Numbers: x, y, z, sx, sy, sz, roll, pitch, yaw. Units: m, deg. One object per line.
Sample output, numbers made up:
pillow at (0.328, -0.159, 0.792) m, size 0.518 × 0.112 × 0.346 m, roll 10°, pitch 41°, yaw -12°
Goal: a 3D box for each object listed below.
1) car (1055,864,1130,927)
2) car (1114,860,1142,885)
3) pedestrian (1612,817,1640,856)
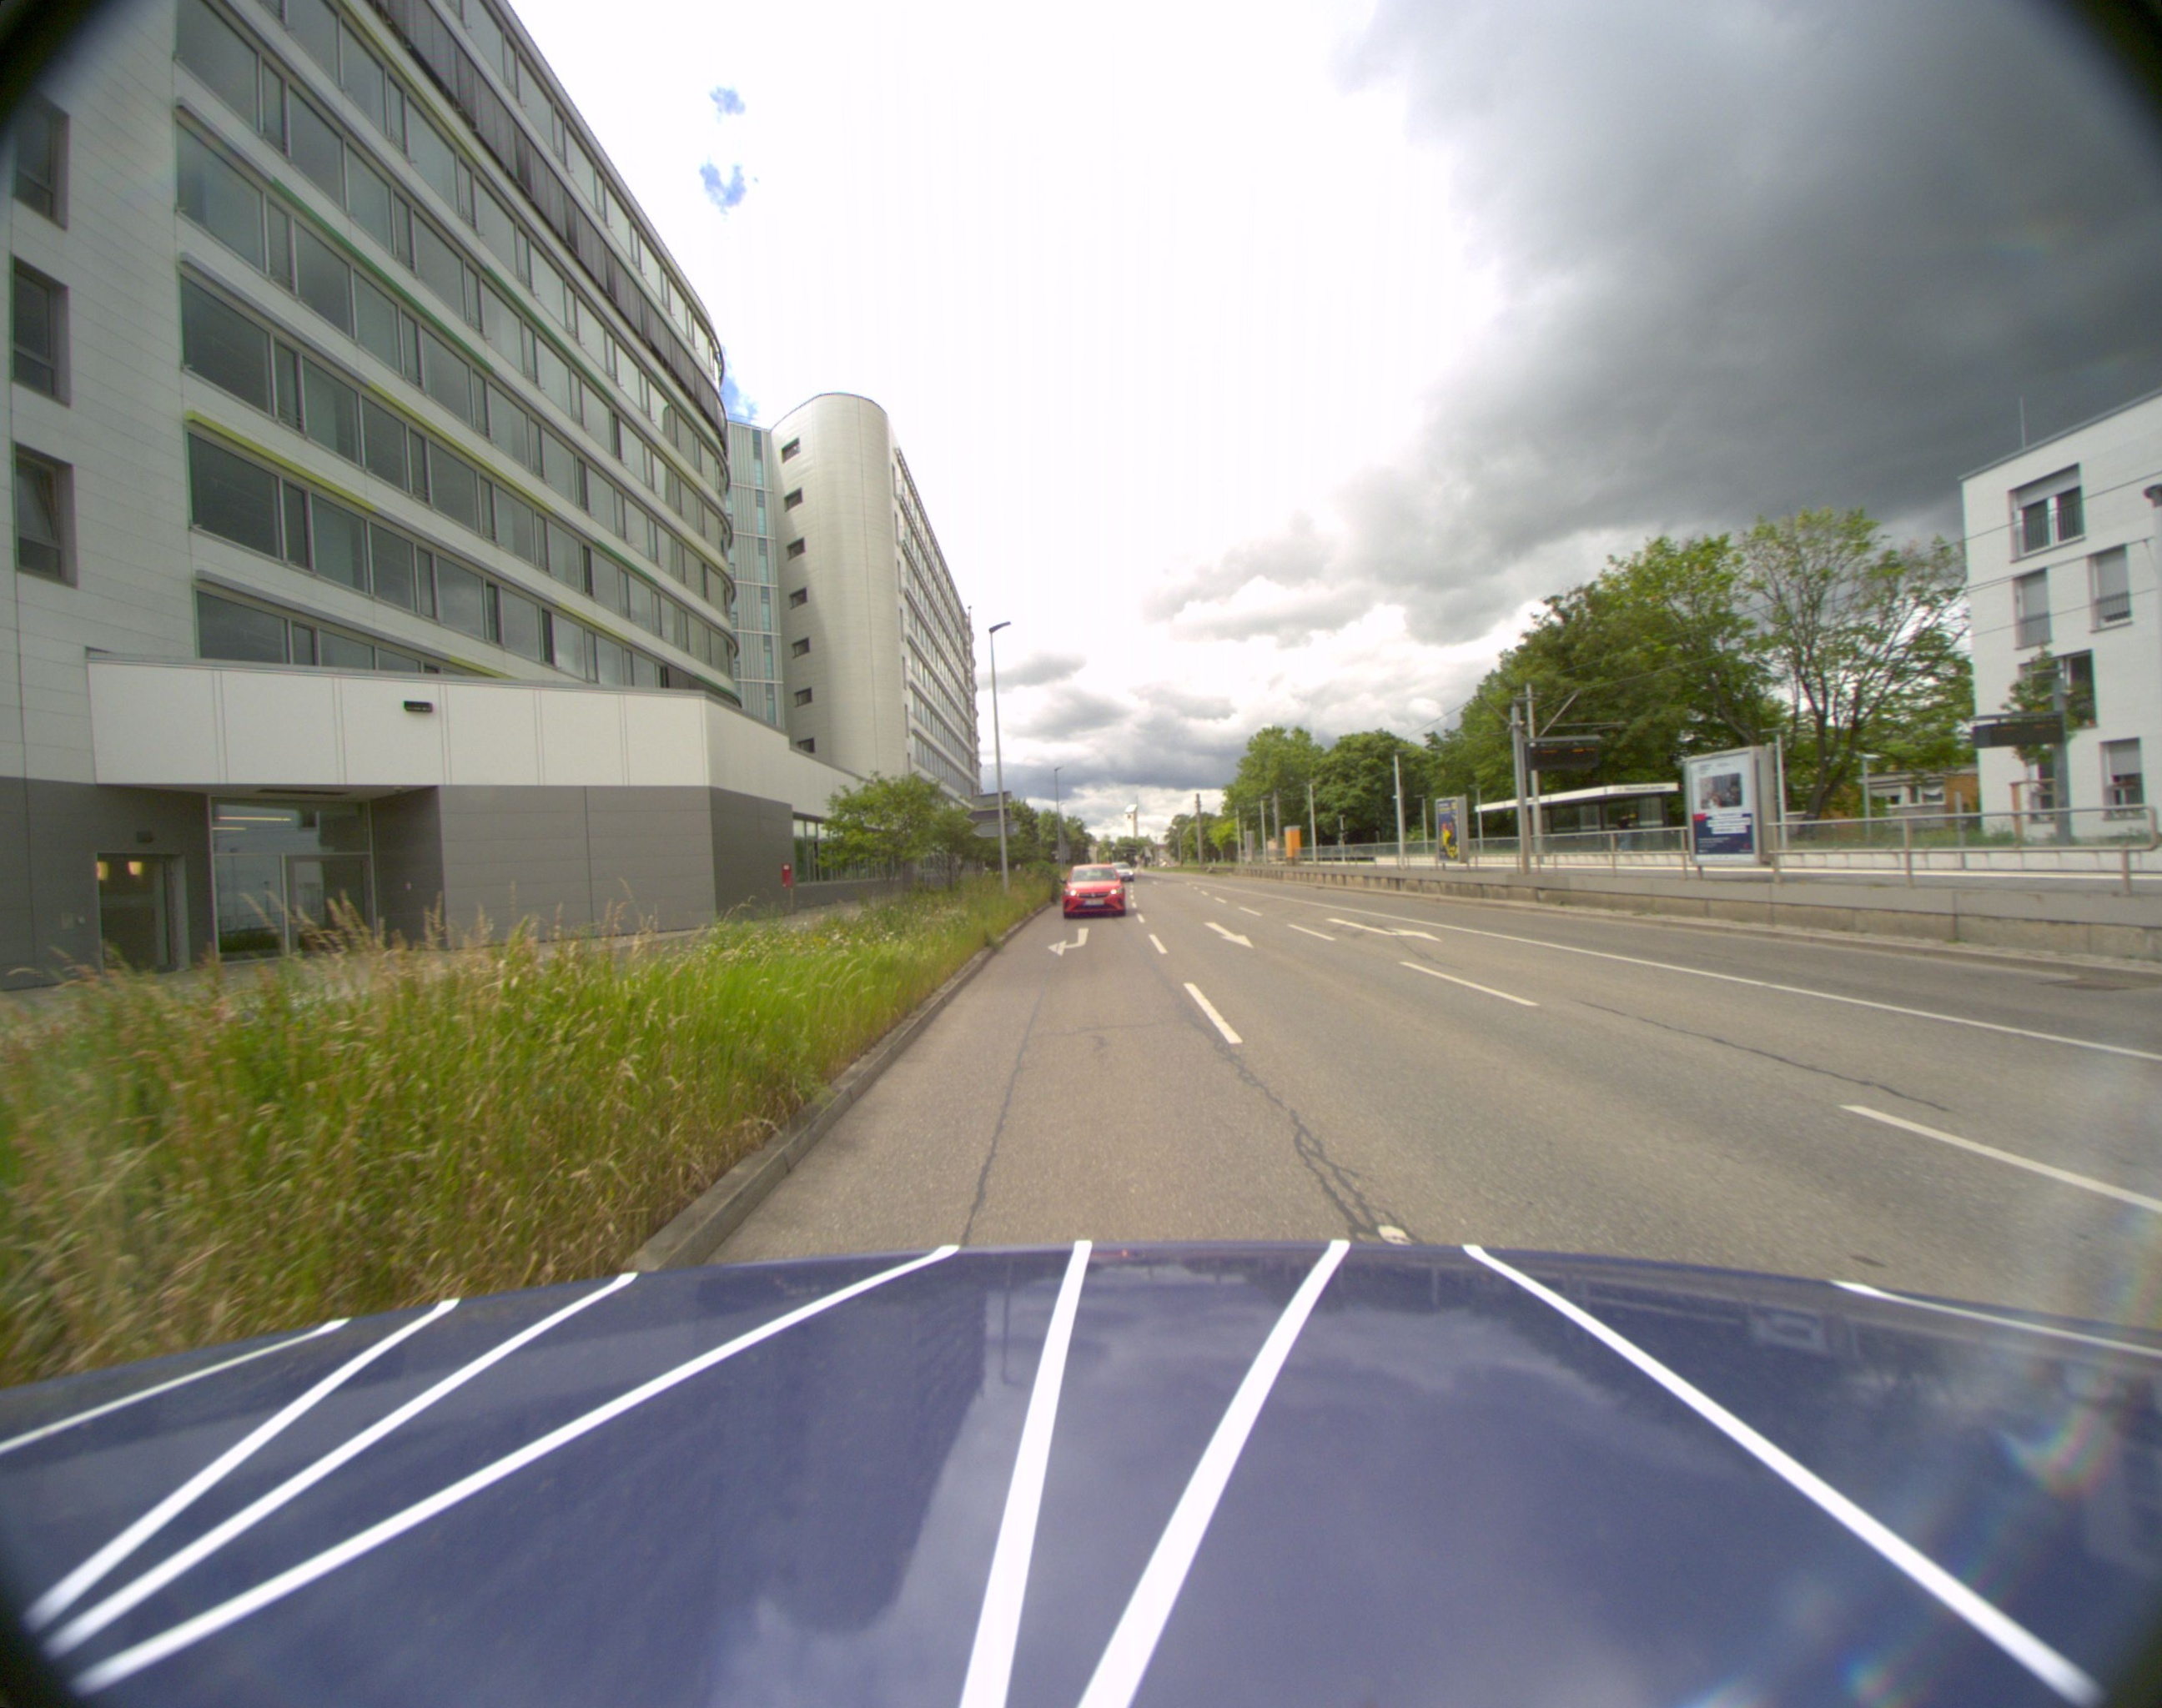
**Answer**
car at (0.357, 1.058, 21.327) m, size 1.790 × 1.453 × 4.853 m, roll -3°, pitch 0°, yaw 1°
car at (3.343, 1.315, 54.640) m, size 1.841 × 1.586 × 4.001 m, roll -3°, pitch 0°, yaw 3°
pedestrian at (21.902, -0.714, 30.549) m, size 0.548 × 1.522 × 0.742 m, roll -3°, pitch 0°, yaw -41°
